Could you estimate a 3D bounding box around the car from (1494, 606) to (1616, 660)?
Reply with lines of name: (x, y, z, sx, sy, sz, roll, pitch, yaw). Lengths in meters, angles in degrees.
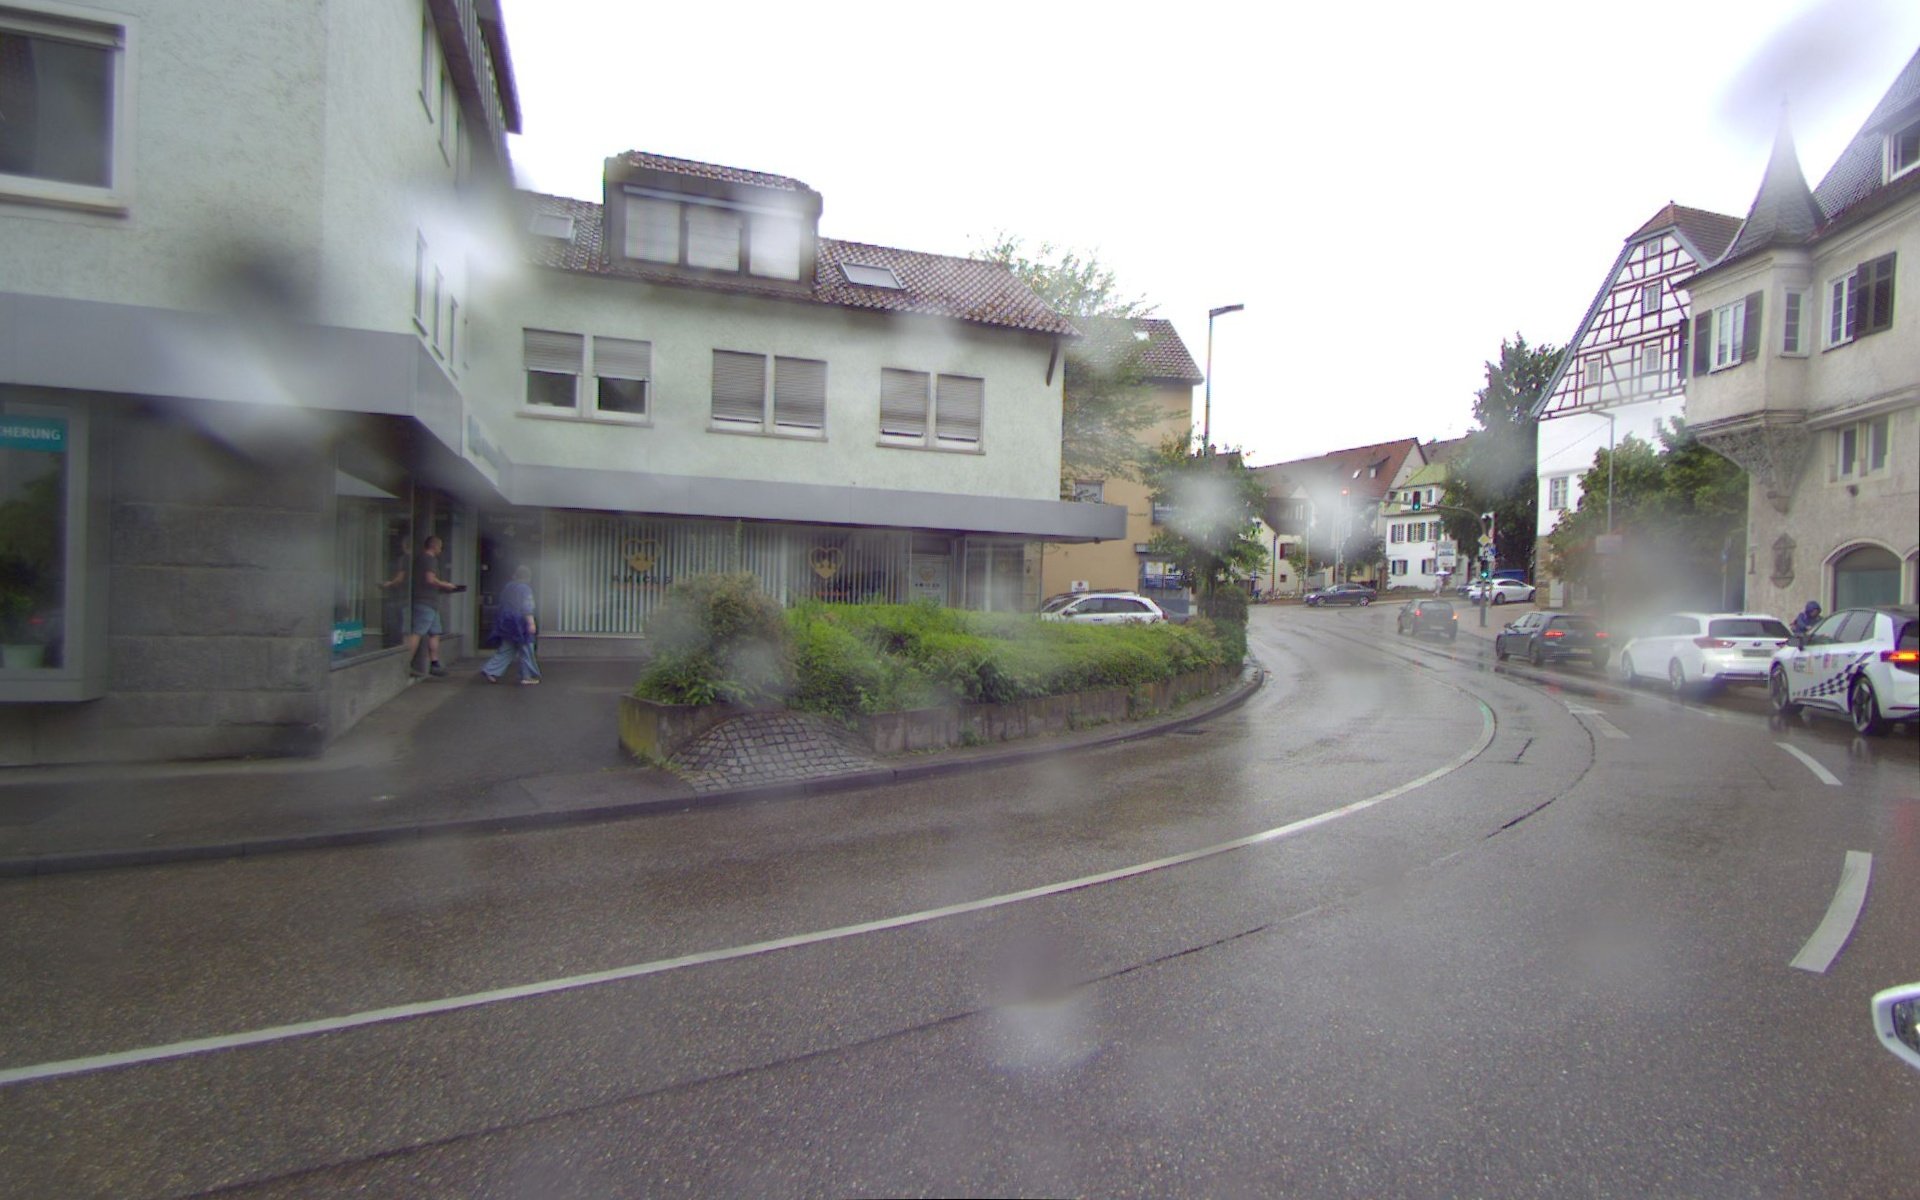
car: (16.255, 0.851, 27.666, 1.960, 1.319, 4.001, 1, 0, 17)

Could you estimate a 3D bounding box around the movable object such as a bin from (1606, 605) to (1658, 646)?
movable object such as a bin: (22.493, 0.836, 33.649, 1.135, 1.330, 1.186, 1, 1, 19)

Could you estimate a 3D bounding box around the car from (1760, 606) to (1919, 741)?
car: (11.998, 0.840, 12.793, 1.827, 1.492, 3.997, 1, 0, 24)

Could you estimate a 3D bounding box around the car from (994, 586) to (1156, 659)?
car: (3.663, 0.681, 32.518, 4.842, 1.850, 1.960, -5, 3, -5)

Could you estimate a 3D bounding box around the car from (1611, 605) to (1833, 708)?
car: (13.898, 0.936, 18.665, 1.853, 1.617, 4.327, 1, 0, 17)

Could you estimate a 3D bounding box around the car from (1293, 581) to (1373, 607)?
car: (23.710, -0.376, 63.952, 4.407, 1.567, 1.863, 1, 0, -1)

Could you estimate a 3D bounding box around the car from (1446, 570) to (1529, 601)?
car: (34.173, -0.972, 65.180, 4.291, 1.907, 2.000, 1, 2, 1)

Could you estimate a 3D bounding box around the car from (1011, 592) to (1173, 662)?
car: (3.247, 0.658, 25.120, 3.580, 1.651, 1.996, 1, 0, -10)

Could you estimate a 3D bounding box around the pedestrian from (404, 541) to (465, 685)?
pedestrian: (-6.925, 0.165, 13.259, 0.664, 1.844, 0.614, 1, 1, -25)

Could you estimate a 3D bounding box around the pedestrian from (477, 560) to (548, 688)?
pedestrian: (-6.093, 0.313, 13.690, 0.851, 1.694, 0.614, 1, 1, -25)

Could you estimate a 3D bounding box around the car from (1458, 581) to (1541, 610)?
car: (31.839, -0.278, 59.319, 4.244, 1.608, 1.991, 1, 0, -20)

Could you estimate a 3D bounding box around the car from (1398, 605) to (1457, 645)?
car: (19.044, 0.981, 41.013, 1.556, 1.544, 3.434, 1, 0, 14)

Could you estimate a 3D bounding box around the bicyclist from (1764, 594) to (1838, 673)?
bicyclist: (16.995, 0.651, 20.316, 0.671, 1.538, 1.031, 1, 1, 8)
